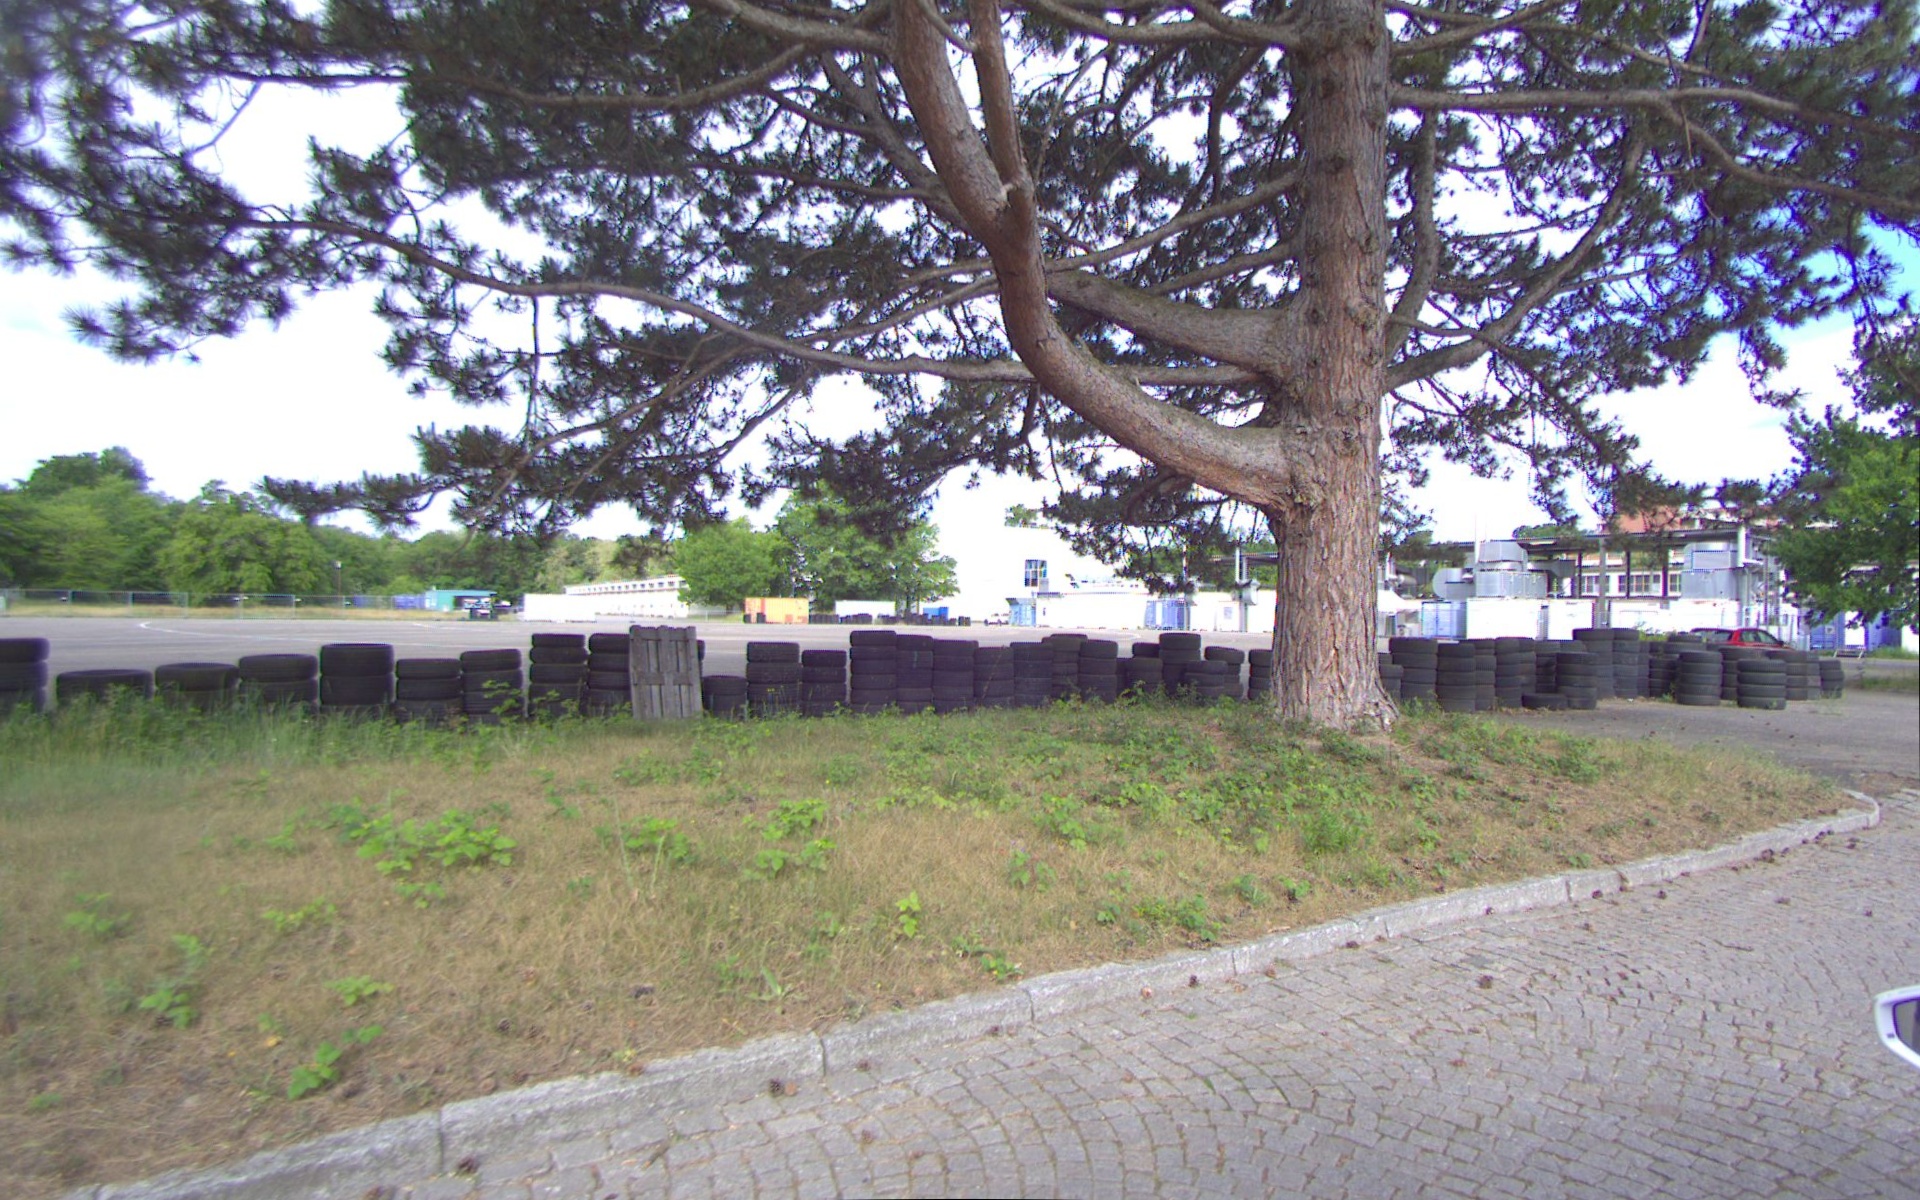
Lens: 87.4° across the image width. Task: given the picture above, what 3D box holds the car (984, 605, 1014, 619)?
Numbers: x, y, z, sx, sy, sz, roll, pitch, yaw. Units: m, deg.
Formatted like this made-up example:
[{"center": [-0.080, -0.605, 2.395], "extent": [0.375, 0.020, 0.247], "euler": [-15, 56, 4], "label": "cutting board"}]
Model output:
[{"center": [4.752, 1.435, 122.695], "extent": [1.808, 1.655, 4.087], "euler": [1, 0, -29], "label": "car"}]

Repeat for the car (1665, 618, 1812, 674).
[{"center": [21.879, 1.252, 28.234], "extent": [4.008, 1.452, 1.621], "euler": [1, 0, -25], "label": "car"}]
